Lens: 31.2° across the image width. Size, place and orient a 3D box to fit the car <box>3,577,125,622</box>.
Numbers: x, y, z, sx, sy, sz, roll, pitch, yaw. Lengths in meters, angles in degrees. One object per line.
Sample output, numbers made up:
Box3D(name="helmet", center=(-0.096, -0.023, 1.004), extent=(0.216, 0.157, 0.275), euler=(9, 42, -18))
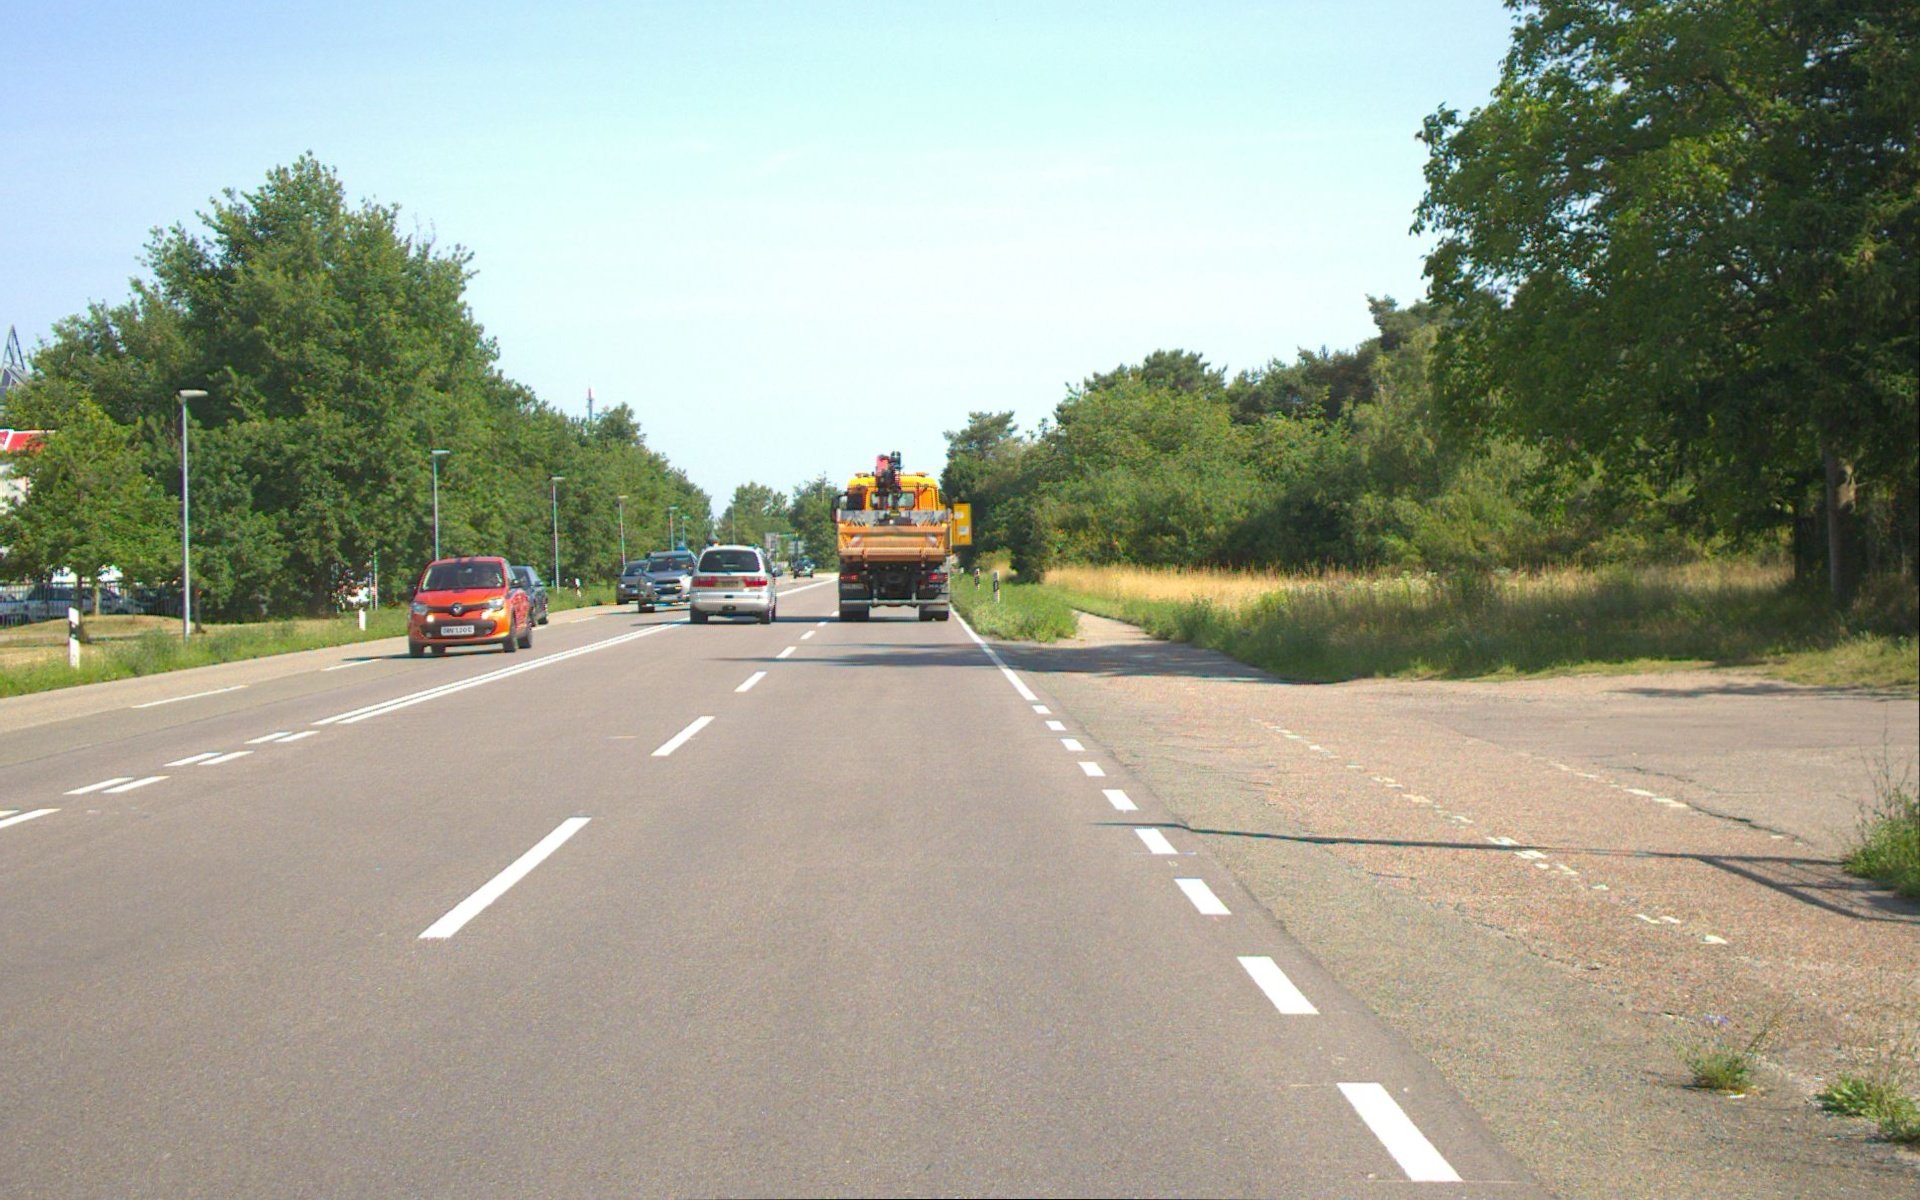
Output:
Box3D(name="car", center=(-32.737, -0.009, 125.709), extent=(3.987, 1.495, 1.758), euler=(-2, 1, -1))

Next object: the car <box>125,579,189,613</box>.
Box3D(name="car", center=(-34.028, -0.193, 145.792), extent=(1.787, 1.345, 4.664), euler=(-3, 1, -3))

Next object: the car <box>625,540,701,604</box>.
Box3D(name="car", center=(-8.487, -0.822, 98.616), extent=(1.771, 1.708, 4.570), euler=(-3, 1, -1))

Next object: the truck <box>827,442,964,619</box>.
Box3D(name="truck", center=(-1.565, -1.567, 79.483), extent=(2.871, 3.867, 7.401), euler=(1, 1, -3))

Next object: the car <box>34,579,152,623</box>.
Box3D(name="car", center=(-32.716, 0.039, 129.804), extent=(3.987, 1.495, 1.758), euler=(-2, 1, -1))

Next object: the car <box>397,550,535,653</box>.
Box3D(name="car", center=(-7.917, -0.007, 55.343), extent=(1.650, 1.492, 3.844), euler=(-4, 1, -1))

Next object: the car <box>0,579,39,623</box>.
Box3D(name="car", center=(-34.609, 0.065, 122.448), extent=(1.736, 1.495, 3.997), euler=(-2, 1, -44))

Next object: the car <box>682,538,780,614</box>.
Box3D(name="car", center=(-4.978, -0.539, 75.145), extent=(1.993, 1.578, 4.000), euler=(-1, 1, -2))

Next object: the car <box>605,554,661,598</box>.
Box3D(name="car", center=(-12.114, -0.904, 127.638), extent=(1.729, 1.555, 4.215), euler=(1, 1, -1))
